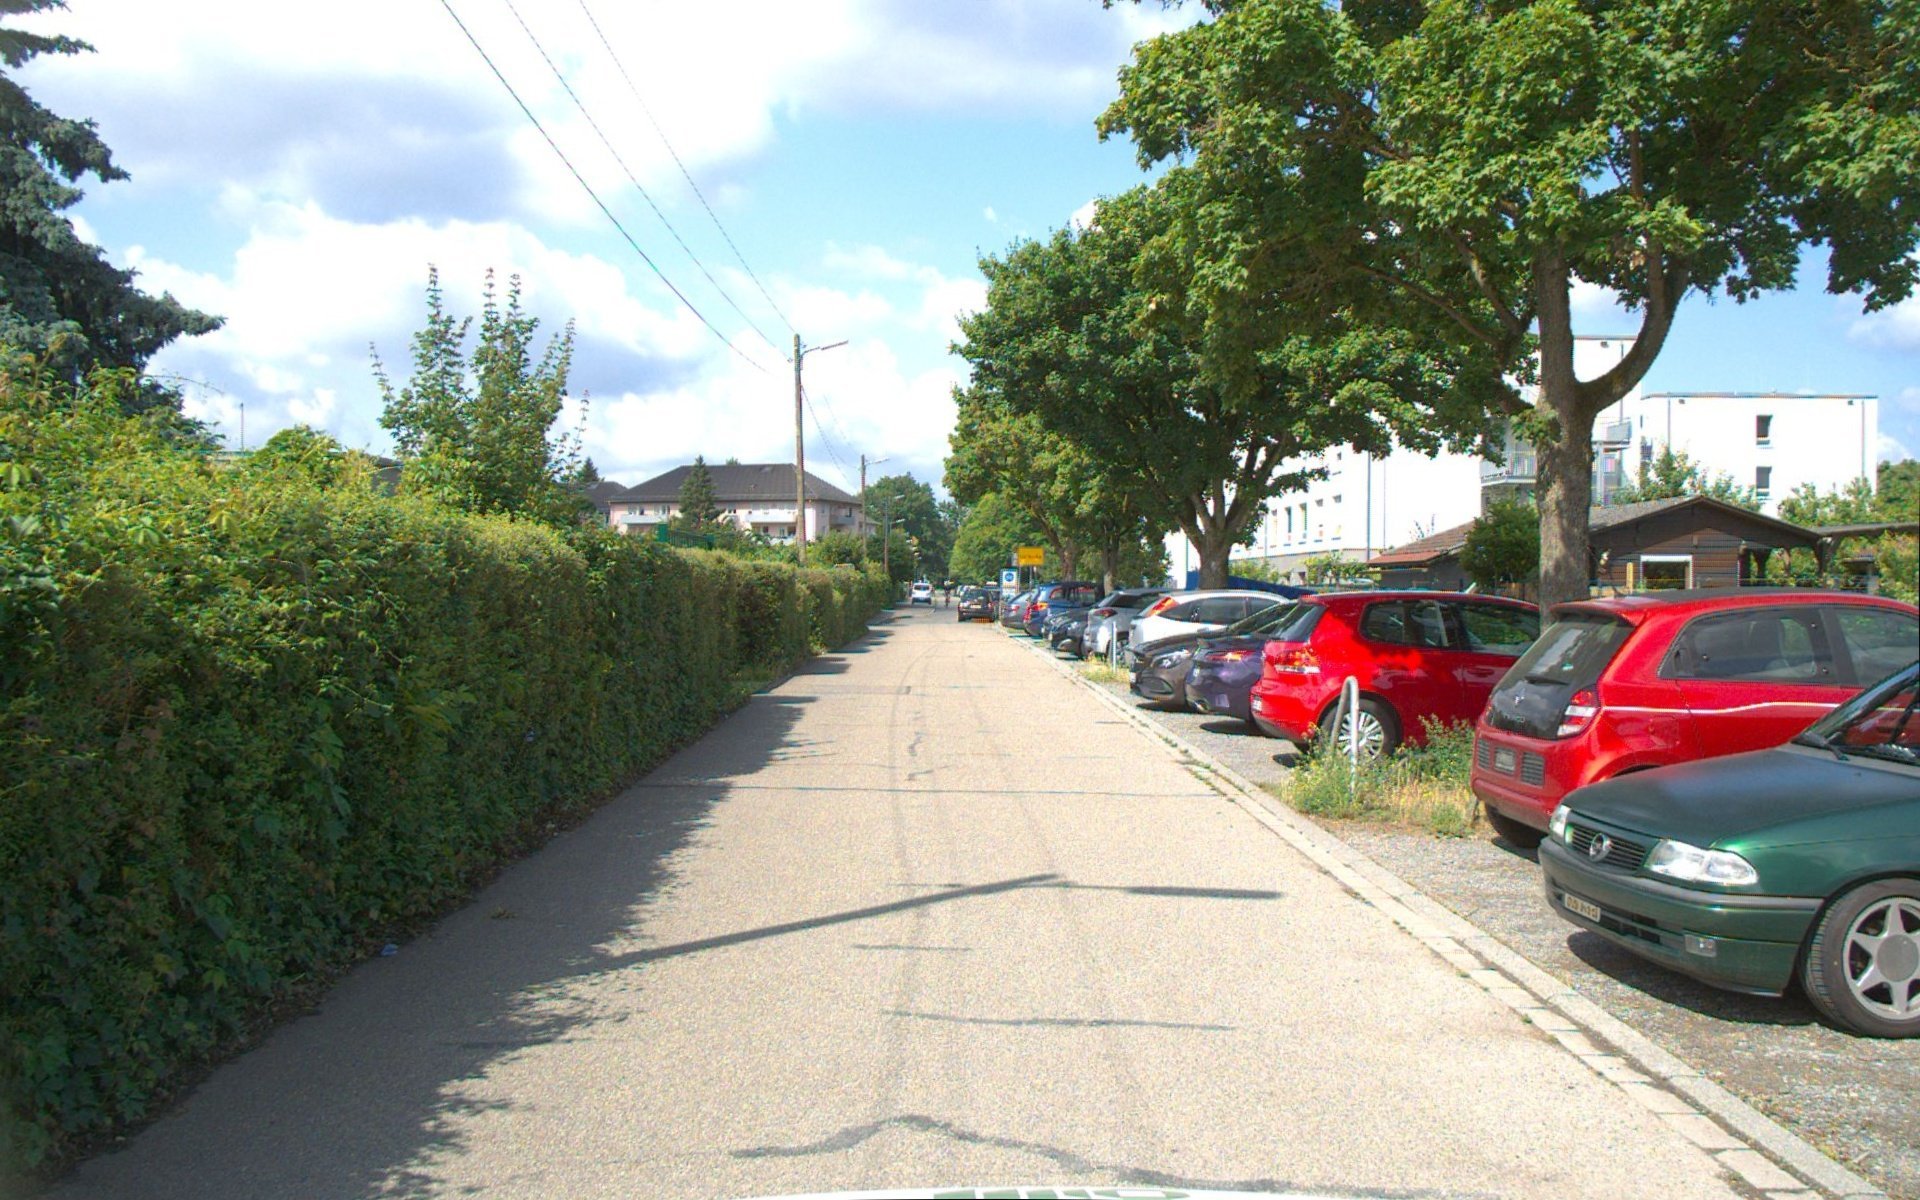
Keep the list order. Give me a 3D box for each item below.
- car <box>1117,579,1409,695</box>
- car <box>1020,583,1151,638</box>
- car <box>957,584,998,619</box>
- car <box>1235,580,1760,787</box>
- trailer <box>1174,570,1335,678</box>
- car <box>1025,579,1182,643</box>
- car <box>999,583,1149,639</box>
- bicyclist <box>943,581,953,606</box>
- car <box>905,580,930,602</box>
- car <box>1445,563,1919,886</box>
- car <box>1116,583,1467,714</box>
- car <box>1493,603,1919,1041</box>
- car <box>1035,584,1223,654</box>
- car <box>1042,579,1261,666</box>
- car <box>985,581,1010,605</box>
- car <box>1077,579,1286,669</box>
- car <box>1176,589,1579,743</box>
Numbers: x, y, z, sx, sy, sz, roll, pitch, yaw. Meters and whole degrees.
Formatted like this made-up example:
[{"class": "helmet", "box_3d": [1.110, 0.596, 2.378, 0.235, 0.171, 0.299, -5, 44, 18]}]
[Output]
[{"class": "car", "box_3d": [4.392, 0.518, 24.464, 3.980, 1.538, 1.958, 1, 0, 2]}, {"class": "car", "box_3d": [3.689, 0.298, 48.950, 3.732, 1.559, 1.762, 0, 0, -1]}, {"class": "car", "box_3d": [0.831, 0.054, 76.001, 1.628, 1.532, 4.002, 1, 0, 4]}, {"class": "car", "box_3d": [4.449, 0.663, 14.177, 3.904, 1.546, 1.855, 1, 0, 2]}, {"class": "trailer", "box_3d": [5.078, 0.392, 28.672, 2.402, 1.750, 1.517, 2, 1, -5]}, {"class": "car", "box_3d": [3.842, 0.280, 44.767, 4.070, 1.666, 1.878, 0, 0, -1]}, {"class": "car", "box_3d": [3.509, 0.334, 51.356, 4.457, 1.606, 1.808, 2, 0, -2]}, {"class": "bicyclist", "box_3d": [-0.920, -0.495, 124.851, 0.645, 1.884, 1.043, -1, 0, 1]}, {"class": "car", "box_3d": [-3.697, -0.736, 144.442, 1.863, 1.846, 4.001, 1, 0, 2]}, {"class": "car", "box_3d": [4.890, 0.660, 9.384, 3.688, 1.601, 1.869, 1, 0, -2]}, {"class": "car", "box_3d": [4.094, 0.589, 20.853, 3.984, 1.481, 1.869, 2, 0, -3]}, {"class": "car", "box_3d": [4.550, 0.795, 6.653, 4.155, 1.453, 1.906, 2, 0, -5]}, {"class": "car", "box_3d": [3.999, 0.451, 39.691, 4.248, 1.518, 1.975, 2, 0, -2]}, {"class": "car", "box_3d": [3.887, 0.449, 34.120, 4.215, 1.621, 1.999, 2, 0, -2]}, {"class": "car", "box_3d": [3.252, -0.572, 142.473, 2.015, 1.960, 4.542, 1, 0, 2]}, {"class": "car", "box_3d": [4.174, 0.449, 31.542, 3.650, 1.567, 1.848, 2, 0, -4]}, {"class": "car", "box_3d": [4.342, 0.666, 17.690, 3.829, 1.448, 1.958, 1, 0, 2]}]
